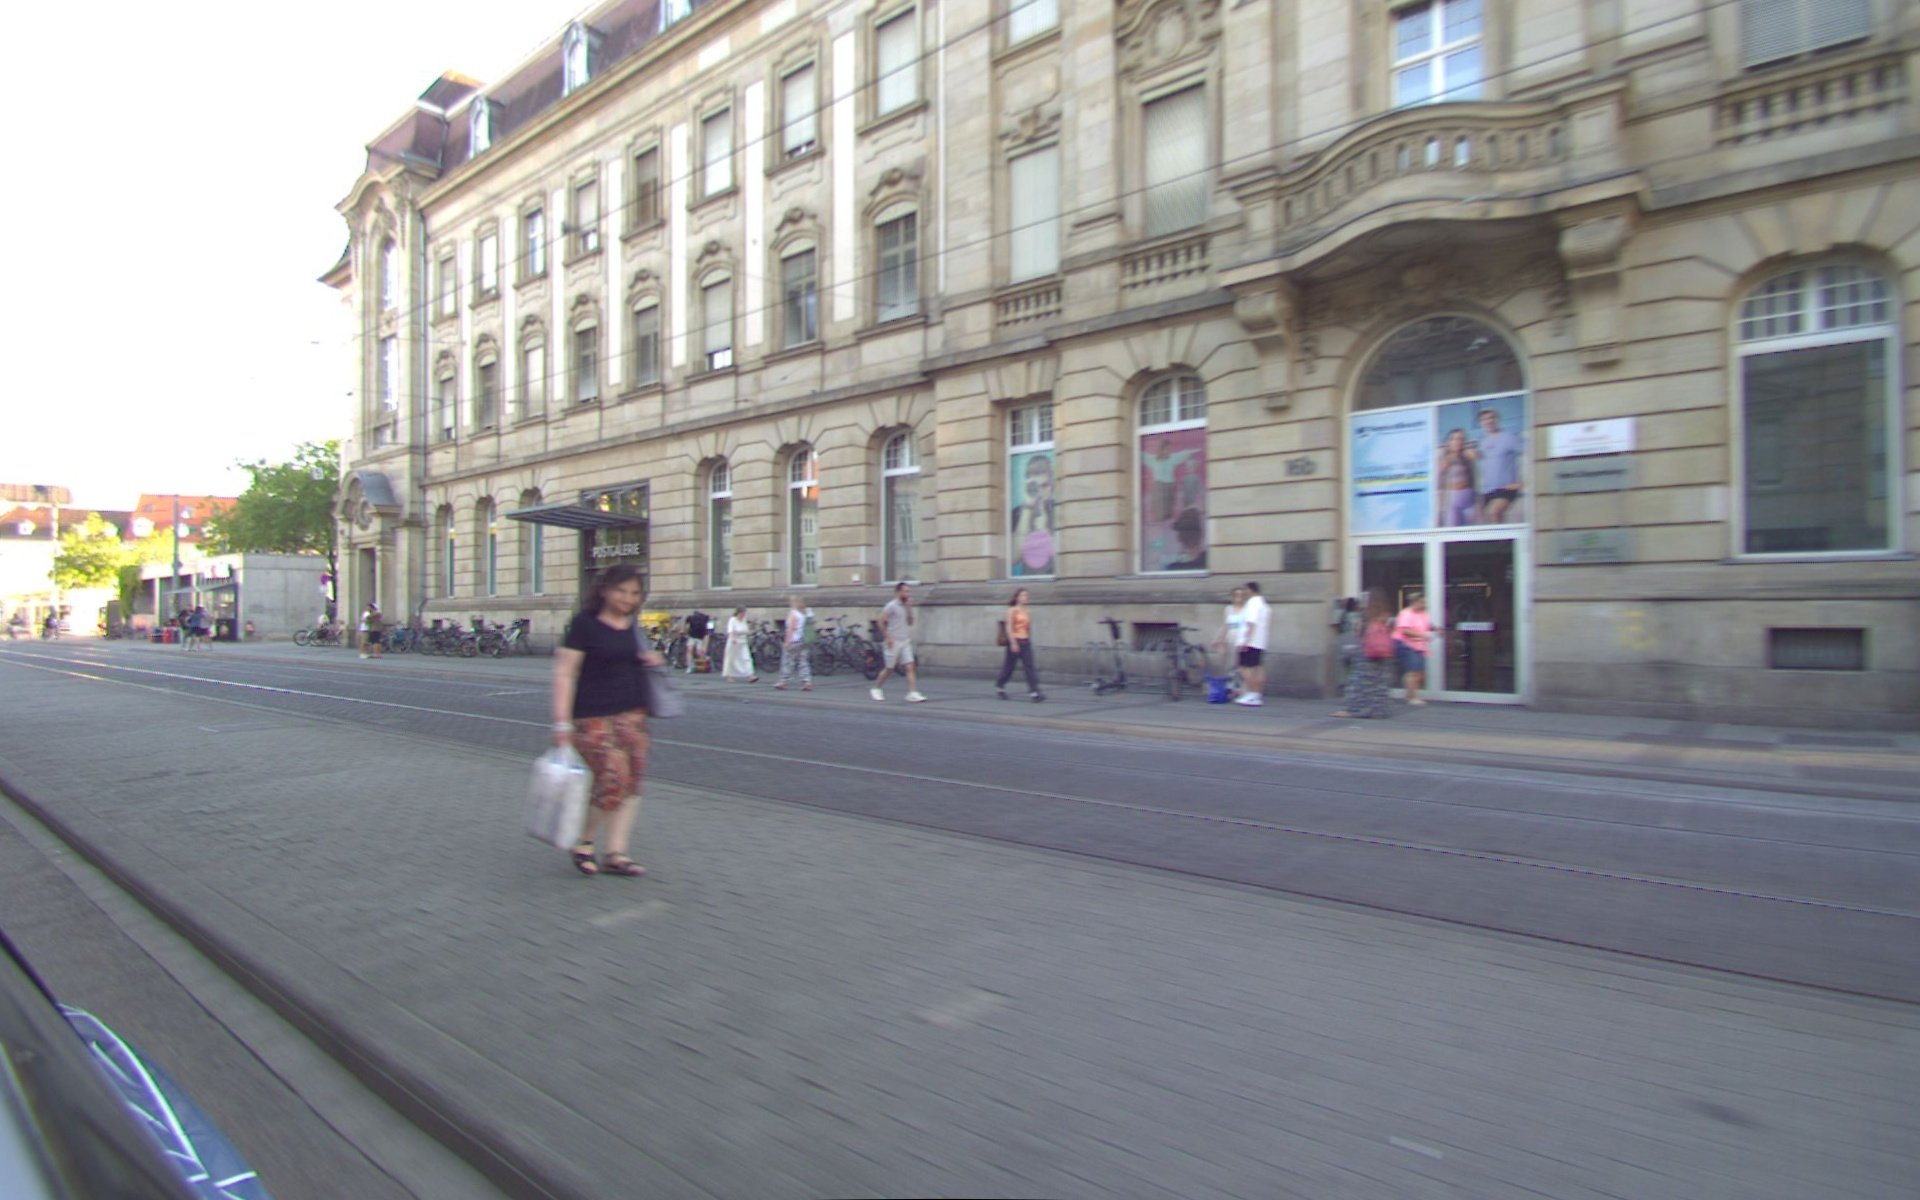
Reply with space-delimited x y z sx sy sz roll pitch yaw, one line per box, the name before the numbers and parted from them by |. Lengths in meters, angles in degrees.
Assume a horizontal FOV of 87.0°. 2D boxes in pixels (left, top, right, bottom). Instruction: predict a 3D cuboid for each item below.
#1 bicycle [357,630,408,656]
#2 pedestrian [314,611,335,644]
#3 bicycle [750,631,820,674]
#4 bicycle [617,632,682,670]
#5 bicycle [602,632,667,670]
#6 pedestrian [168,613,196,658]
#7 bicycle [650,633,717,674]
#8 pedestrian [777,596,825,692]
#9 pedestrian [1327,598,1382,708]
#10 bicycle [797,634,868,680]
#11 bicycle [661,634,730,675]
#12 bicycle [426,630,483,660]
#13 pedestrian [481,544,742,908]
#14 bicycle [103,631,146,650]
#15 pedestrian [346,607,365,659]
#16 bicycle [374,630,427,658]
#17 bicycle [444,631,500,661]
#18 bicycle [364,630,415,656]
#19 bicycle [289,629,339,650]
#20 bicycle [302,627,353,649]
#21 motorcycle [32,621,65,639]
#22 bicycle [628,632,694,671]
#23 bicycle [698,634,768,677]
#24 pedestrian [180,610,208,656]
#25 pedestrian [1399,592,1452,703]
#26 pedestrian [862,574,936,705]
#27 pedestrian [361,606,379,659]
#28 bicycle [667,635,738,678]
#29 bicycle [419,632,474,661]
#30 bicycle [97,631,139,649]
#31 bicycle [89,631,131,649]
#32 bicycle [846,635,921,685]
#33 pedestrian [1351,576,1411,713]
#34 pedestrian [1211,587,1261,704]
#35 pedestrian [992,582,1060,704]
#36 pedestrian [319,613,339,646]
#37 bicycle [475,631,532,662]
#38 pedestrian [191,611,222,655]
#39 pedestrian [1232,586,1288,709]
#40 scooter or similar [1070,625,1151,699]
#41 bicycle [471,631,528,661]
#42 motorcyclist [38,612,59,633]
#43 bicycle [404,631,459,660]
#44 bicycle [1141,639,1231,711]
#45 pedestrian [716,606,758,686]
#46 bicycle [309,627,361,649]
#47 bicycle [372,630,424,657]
bicycle | -21.237 1.573 37.235 0.451 0.880 1.557 -1 0 45
pedestrian | -30.354 1.295 48.324 0.678 1.573 0.653 -1 -1 37
bicycle | -3.899 1.162 22.629 0.451 0.880 1.557 -1 0 45
bicycle | -7.888 1.289 25.770 0.451 0.880 1.557 -1 0 45
bicycle | -8.399 1.303 26.166 0.451 0.880 1.557 -1 0 45
pedestrian | -30.562 1.383 39.760 0.593 1.749 0.643 -1 -3 31
bicycle | -6.696 1.283 24.577 0.451 0.880 1.557 -1 0 45
pedestrian | -2.659 0.736 16.999 0.671 1.573 0.661 -1 -1 3
pedestrian | 5.369 0.703 13.781 0.433 1.450 0.573 -1 0 -13
bicycle | -2.716 1.208 21.684 0.451 0.880 1.557 -1 0 45
bicycle | -6.282 1.291 24.081 0.451 0.880 1.557 -1 0 45
bicycle | -16.297 1.452 32.643 0.451 0.880 1.557 -1 0 45
pedestrian | -1.663 0.531 4.836 0.900 1.512 0.837 -1 -1 40
bicycle | -55.313 2.676 66.993 0.692 1.168 2.104 -1 -1 41
pedestrian | -19.253 1.035 32.224 0.370 1.643 0.495 -1 0 -16
bicycle | -19.600 1.541 35.472 0.451 0.880 1.557 -1 0 45
bicycle | -15.462 1.444 32.093 0.451 0.880 1.557 -1 0 45
bicycle | -20.808 1.570 36.909 0.451 0.880 1.557 -1 0 45
bicycle | -29.501 1.810 46.239 0.634 0.875 1.817 -1 0 38
bicycle | -27.999 1.682 44.834 0.634 0.875 1.817 -1 0 38
motorcycle | -65.134 2.132 72.321 1.758 1.247 0.805 -1 0 7
bicycle | -7.485 1.287 25.341 0.451 0.880 1.557 -1 0 45
bicycle | -5.170 1.252 23.074 0.451 0.880 1.557 -1 0 45
pedestrian | -29.728 1.275 39.290 0.670 1.749 0.483 0 -2 -2
pedestrian | 6.468 0.642 14.080 0.589 1.501 0.538 -1 0 17
pedestrian | -0.880 0.561 14.631 0.814 1.826 0.685 -1 -1 39
pedestrian | -18.872 1.028 32.359 0.370 1.686 0.495 -1 0 -17
bicycle | -5.922 1.292 23.324 0.451 0.880 1.557 -1 0 45
bicycle | -17.120 1.537 33.769 0.451 0.880 1.557 -1 0 45
bicycle | -56.578 2.686 68.004 0.692 1.168 2.104 -1 -1 41
bicycle | -57.985 2.699 69.027 0.692 1.168 2.104 -1 -1 41
bicycle | -1.513 1.180 20.207 0.451 0.880 1.557 -1 0 45
pedestrian | 5.105 0.523 12.263 0.571 1.617 0.435 -1 0 36
pedestrian | 3.997 0.642 14.666 0.331 1.654 0.607 -1 0 -43
pedestrian | 0.972 0.616 14.832 0.809 1.725 0.689 -1 -1 21
pedestrian | -30.941 1.437 49.633 0.678 1.573 0.653 -1 -1 37
bicycle | -14.069 1.431 31.221 0.451 0.880 1.557 -1 0 45
pedestrian | -29.785 1.306 40.003 0.671 1.749 0.676 0 -2 2
pedestrian | 4.143 0.635 13.980 0.470 1.654 0.563 -1 0 -41
scooter or similar | 2.418 0.959 16.146 0.451 1.076 1.529 -1 0 45
bicycle | -14.482 1.432 31.846 0.451 0.880 1.557 -1 0 45
motorcyclist | -65.141 1.628 72.328 0.790 1.450 0.799 -1 0 6
bicycle | -17.825 1.526 34.142 0.451 0.880 1.557 -1 0 45
bicycle | 3.155 1.016 14.032 0.451 0.880 1.557 -1 0 45
pedestrian | -4.262 0.867 19.335 0.682 1.477 0.558 0 -1 -24
bicycle | -27.406 1.676 44.416 0.634 0.875 1.817 -1 0 38
bicycle | -20.127 1.564 36.290 0.451 0.880 1.557 -1 0 45
